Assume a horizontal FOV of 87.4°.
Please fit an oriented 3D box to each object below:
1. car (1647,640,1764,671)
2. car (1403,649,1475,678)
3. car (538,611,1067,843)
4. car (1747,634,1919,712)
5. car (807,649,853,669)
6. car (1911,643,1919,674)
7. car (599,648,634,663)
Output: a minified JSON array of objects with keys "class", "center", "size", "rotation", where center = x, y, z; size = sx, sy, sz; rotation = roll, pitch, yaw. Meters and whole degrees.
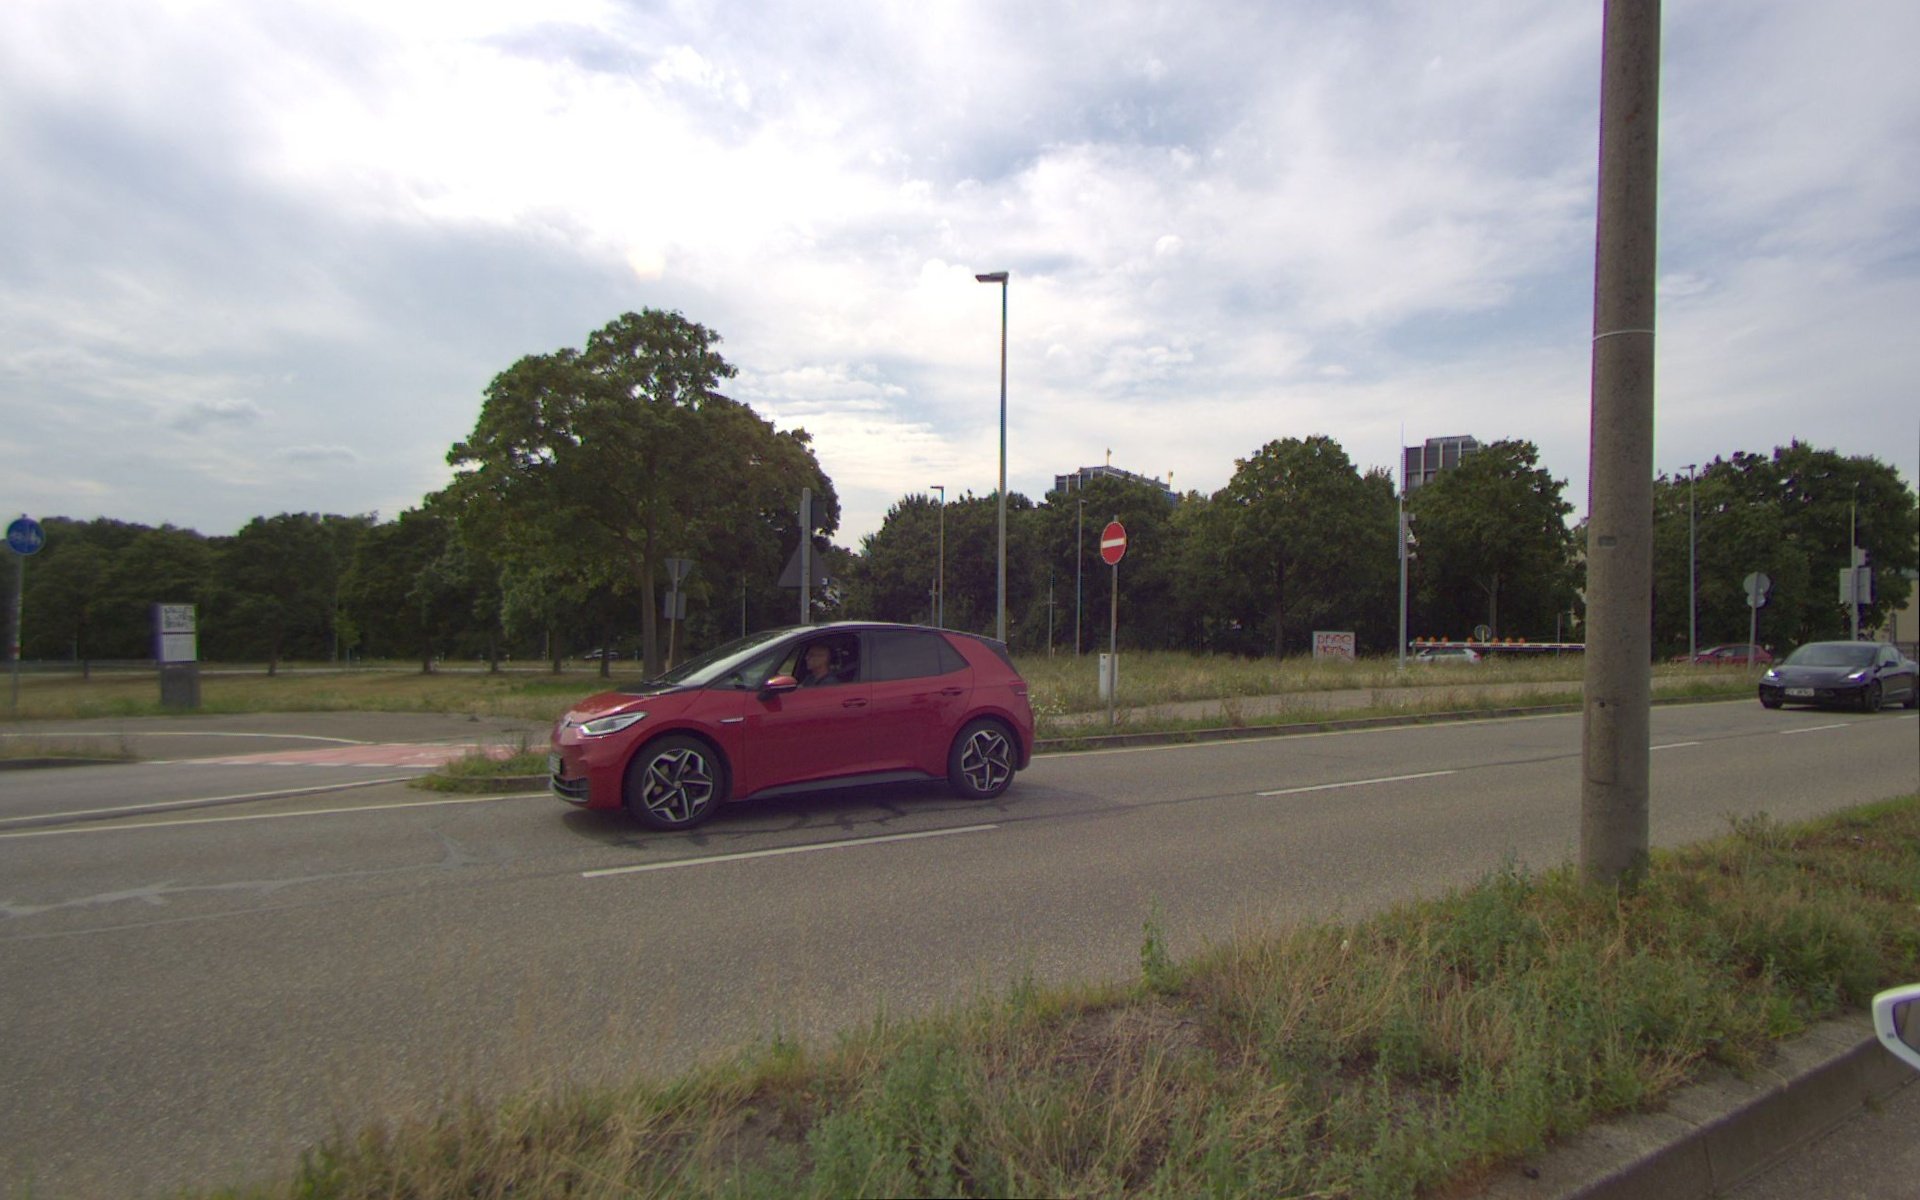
[{"class":"car","center":[34.161,2.525,46.118],"size":[4.094,1.386,1.518],"rotation":[0,-1,6]},{"class":"car","center":[22.869,3.033,48.012],"size":[2.949,1.290,1.273],"rotation":[0,-2,17]},{"class":"car","center":[-1.264,0.950,8.778],"size":[4.290,1.595,1.643],"rotation":[1,-3,-32]},{"class":"car","center":[18.751,1.481,21.367],"size":[4.514,1.495,1.736],"rotation":[1,-2,-32]},{"class":"car","center":[-9.927,4.476,76.708],"size":[1.563,1.414,3.831],"rotation":[1,-2,-42]},{"class":"car","center":[47.400,2.742,47.155],"size":[4.380,1.465,1.748],"rotation":[0,-2,-10]},{"class":"car","center":[-33.696,5.446,98.577],"size":[3.822,1.414,1.566],"rotation":[-1,-2,41]}]
